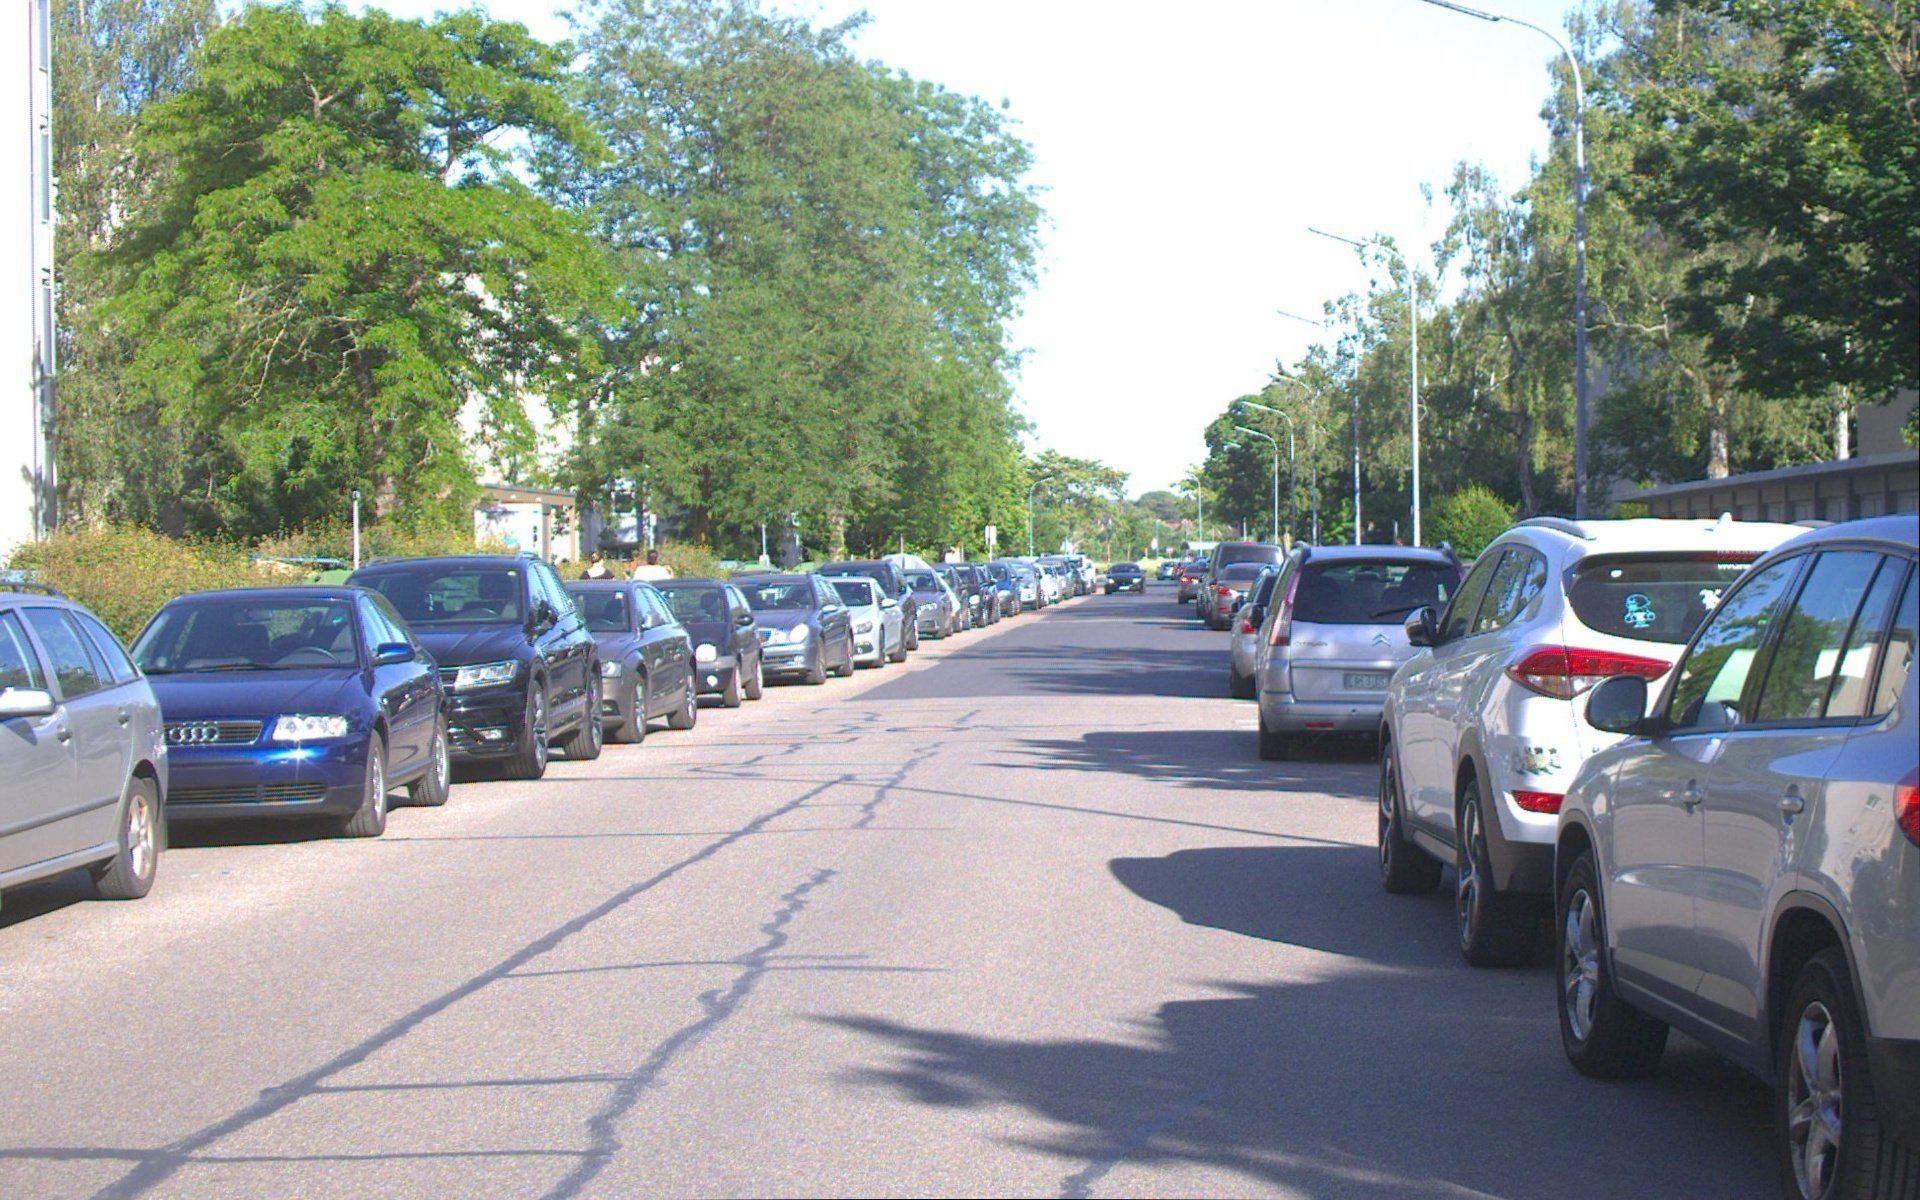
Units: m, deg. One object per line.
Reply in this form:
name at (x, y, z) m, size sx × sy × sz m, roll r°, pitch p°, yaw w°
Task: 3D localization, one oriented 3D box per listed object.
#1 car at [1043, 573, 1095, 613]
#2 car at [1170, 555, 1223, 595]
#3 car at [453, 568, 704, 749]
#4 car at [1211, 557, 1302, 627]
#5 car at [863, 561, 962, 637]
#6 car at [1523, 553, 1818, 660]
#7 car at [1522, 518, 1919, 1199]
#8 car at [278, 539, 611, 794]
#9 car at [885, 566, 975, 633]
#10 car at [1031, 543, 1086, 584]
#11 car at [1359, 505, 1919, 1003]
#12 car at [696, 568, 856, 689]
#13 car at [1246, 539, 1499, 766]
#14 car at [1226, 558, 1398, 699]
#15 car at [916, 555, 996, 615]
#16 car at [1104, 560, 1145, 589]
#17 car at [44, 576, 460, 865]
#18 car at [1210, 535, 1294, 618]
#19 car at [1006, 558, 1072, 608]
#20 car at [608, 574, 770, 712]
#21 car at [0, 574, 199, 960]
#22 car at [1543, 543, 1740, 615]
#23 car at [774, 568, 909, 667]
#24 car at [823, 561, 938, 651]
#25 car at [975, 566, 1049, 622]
car at (4.498, -0.300, 141.413) m, size 1.824 × 1.461 × 4.233 m, roll 0°, pitch 2°, yaw 6°
car at (8.523, -0.907, 123.618) m, size 1.824 × 1.320 × 4.233 m, roll 0°, pitch 2°, yaw 5°
car at (-3.366, 0.481, 30.959) m, size 1.660 × 1.434 × 3.760 m, roll -2°, pitch 1°, yaw 2°
car at (6.422, -0.194, 74.860) m, size 1.824 × 1.461 × 4.233 m, roll 0°, pitch 1°, yaw 3°
car at (-0.920, -0.037, 68.092) m, size 1.510 × 1.377 × 3.466 m, roll -2°, pitch 1°, yaw 6°
car at (10.850, 0.082, 52.710) m, size 4.220 × 1.588 × 1.830 m, roll 0°, pitch 1°, yaw 5°
car at (2.655, 0.627, 8.598) m, size 1.729 × 1.613 × 4.234 m, roll 0°, pitch 1°, yaw -1°
car at (-3.729, 0.421, 25.516) m, size 1.660 × 1.682 × 4.049 m, roll -2°, pitch 1°, yaw 2°
car at (-0.628, -0.028, 73.960) m, size 1.510 × 1.324 × 3.466 m, roll -2°, pitch 1°, yaw 6°
car at (3.825, -1.411, 133.137) m, size 1.824 × 1.461 × 4.233 m, roll 0°, pitch 2°, yaw 6°
car at (2.656, 0.497, 13.857) m, size 1.653 × 1.693 × 4.233 m, roll 0°, pitch 1°, yaw 1°
car at (-2.409, 0.345, 45.765) m, size 1.510 × 1.446 × 3.690 m, roll -2°, pitch 1°, yaw 6°
car at (3.170, 0.355, 27.079) m, size 1.697 × 1.636 × 4.233 m, roll 0°, pitch 1°, yaw 3°
car at (4.074, 0.282, 39.498) m, size 1.825 × 1.461 × 4.232 m, roll -1°, pitch 1°, yaw 7°
car at (-0.077, -0.371, 82.791) m, size 1.510 × 1.324 × 3.466 m, roll -2°, pitch 1°, yaw 6°
car at (7.912, -1.247, 165.402) m, size 1.944 × 1.285 × 4.233 m, roll 0°, pitch 2°, yaw 3°
car at (-4.017, 0.621, 20.122) m, size 1.660 × 1.421 × 4.049 m, roll -2°, pitch 1°, yaw -2°
car at (6.821, -0.577, 80.629) m, size 1.824 × 1.796 × 4.233 m, roll 0°, pitch 2°, yaw 3°
car at (2.556, -0.567, 110.296) m, size 1.824 × 1.461 × 4.233 m, roll 0°, pitch 2°, yaw 6°
car at (-3.024, 0.452, 38.830) m, size 1.389 × 1.408 × 3.125 m, roll -2°, pitch 1°, yaw 3°
car at (-4.574, 0.684, 14.441) m, size 1.660 × 1.481 × 4.052 m, roll -2°, pitch 1°, yaw 2°
car at (15.489, -0.471, 78.268) m, size 4.220 × 1.525 × 1.830 m, roll 0°, pitch -2°, yaw 5°
car at (-1.758, 0.243, 51.949) m, size 1.510 × 1.359 × 3.466 m, roll -2°, pitch 1°, yaw 6°
car at (-1.352, 0.082, 59.775) m, size 1.510 × 1.429 × 3.466 m, roll -2°, pitch 1°, yaw 6°
car at (1.528, -0.186, 99.757) m, size 1.824 × 1.461 × 4.233 m, roll 0°, pitch 2°, yaw 6°
